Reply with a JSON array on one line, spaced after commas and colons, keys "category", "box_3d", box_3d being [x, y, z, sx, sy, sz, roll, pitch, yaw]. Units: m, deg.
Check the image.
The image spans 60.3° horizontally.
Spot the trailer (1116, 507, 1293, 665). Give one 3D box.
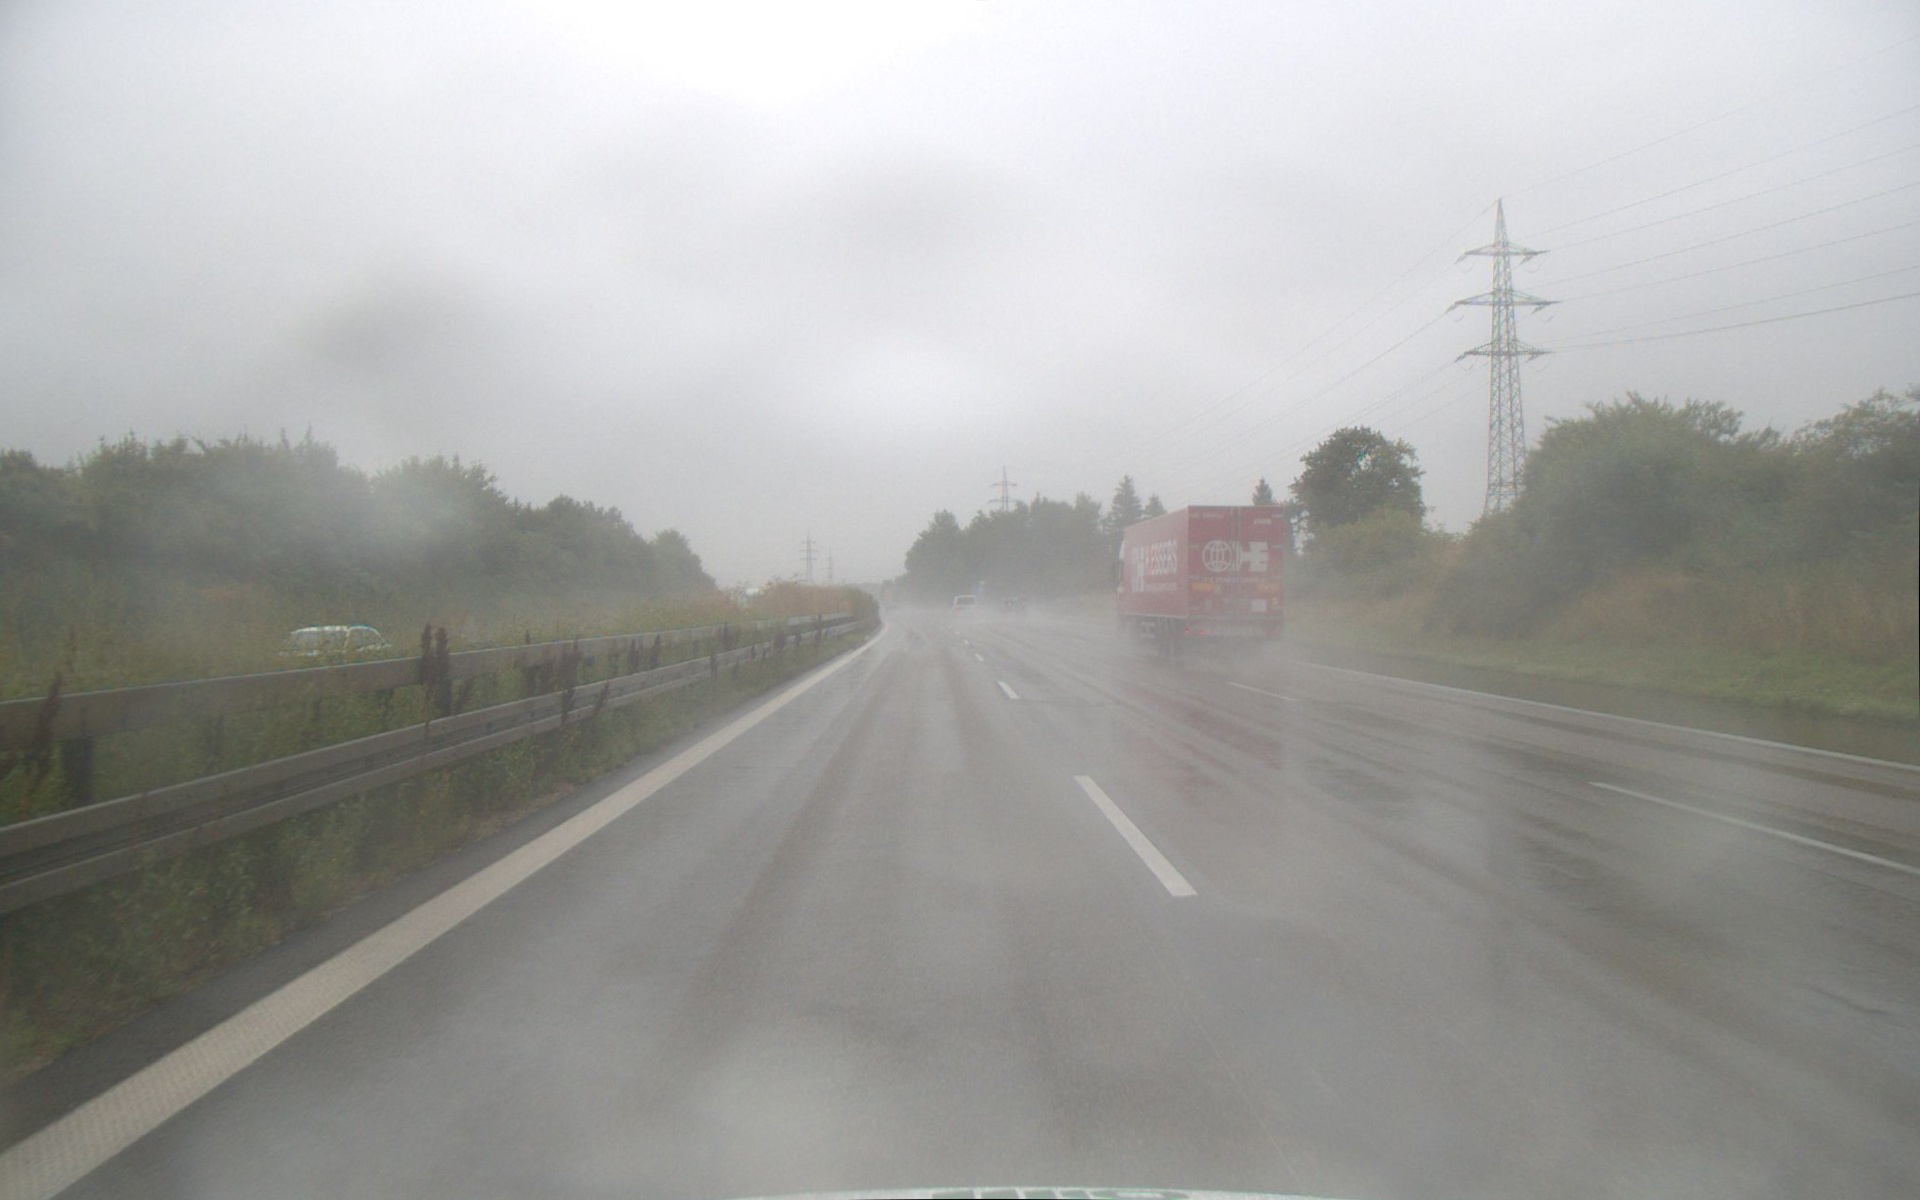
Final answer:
[{"category": "trailer", "box_3d": [7.065, -0.362, 50.221, 2.568, 4.024, 13.622, -3, 0, -3]}]

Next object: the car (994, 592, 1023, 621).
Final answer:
[{"category": "car", "box_3d": [3.835, 0.494, 131.392, 1.771, 2.196, 3.997, -2, 0, -4]}]
